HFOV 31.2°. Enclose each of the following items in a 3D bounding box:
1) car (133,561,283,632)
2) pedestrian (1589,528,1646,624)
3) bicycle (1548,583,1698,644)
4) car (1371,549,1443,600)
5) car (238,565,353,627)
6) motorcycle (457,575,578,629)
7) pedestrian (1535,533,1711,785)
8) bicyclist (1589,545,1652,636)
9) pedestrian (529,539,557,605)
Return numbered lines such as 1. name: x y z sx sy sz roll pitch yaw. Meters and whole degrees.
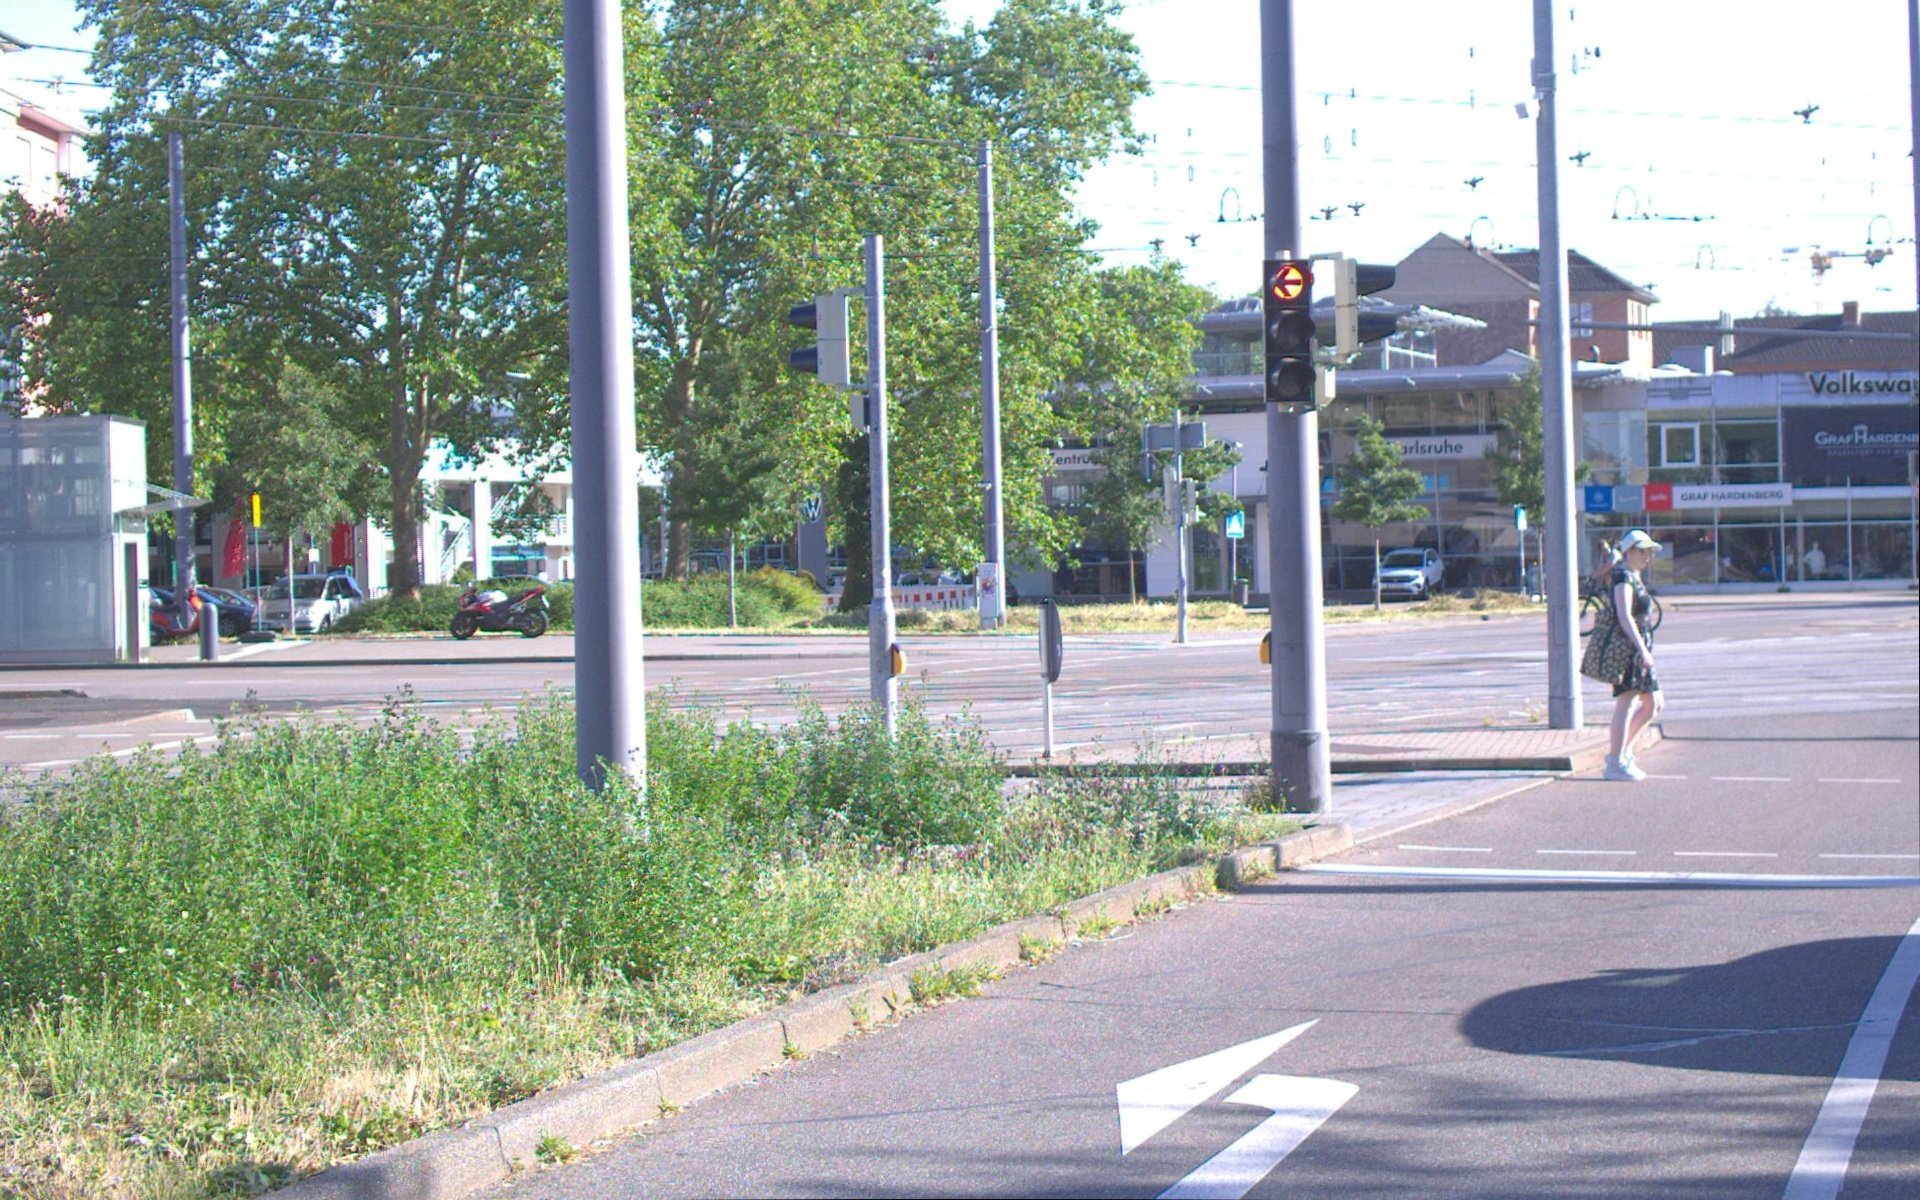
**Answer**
1. car: -21.270 -0.126 97.181 3.986 1.851 1.854 -1 3 -16
2. pedestrian: 12.655 -0.460 66.142 0.990 1.810 0.919 0 2 17
3. bicycle: 11.526 0.229 59.798 2.438 1.000 0.963 -1 0 3
4. car: 14.822 -0.856 113.791 1.995 1.529 3.998 0 3 13
5. car: -16.197 -0.110 83.990 1.847 1.447 4.000 -1 1 3
6. motorcycle: -8.858 0.038 68.883 2.285 1.050 0.687 0 2 6
7. pedestrian: 4.320 0.376 22.461 1.093 1.601 0.699 0 2 8
8. bicyclist: 11.490 -0.162 59.803 0.923 1.554 0.963 -1 0 3
9. pedestrian: -12.931 -0.869 106.564 0.589 2.007 0.710 -1 0 18
